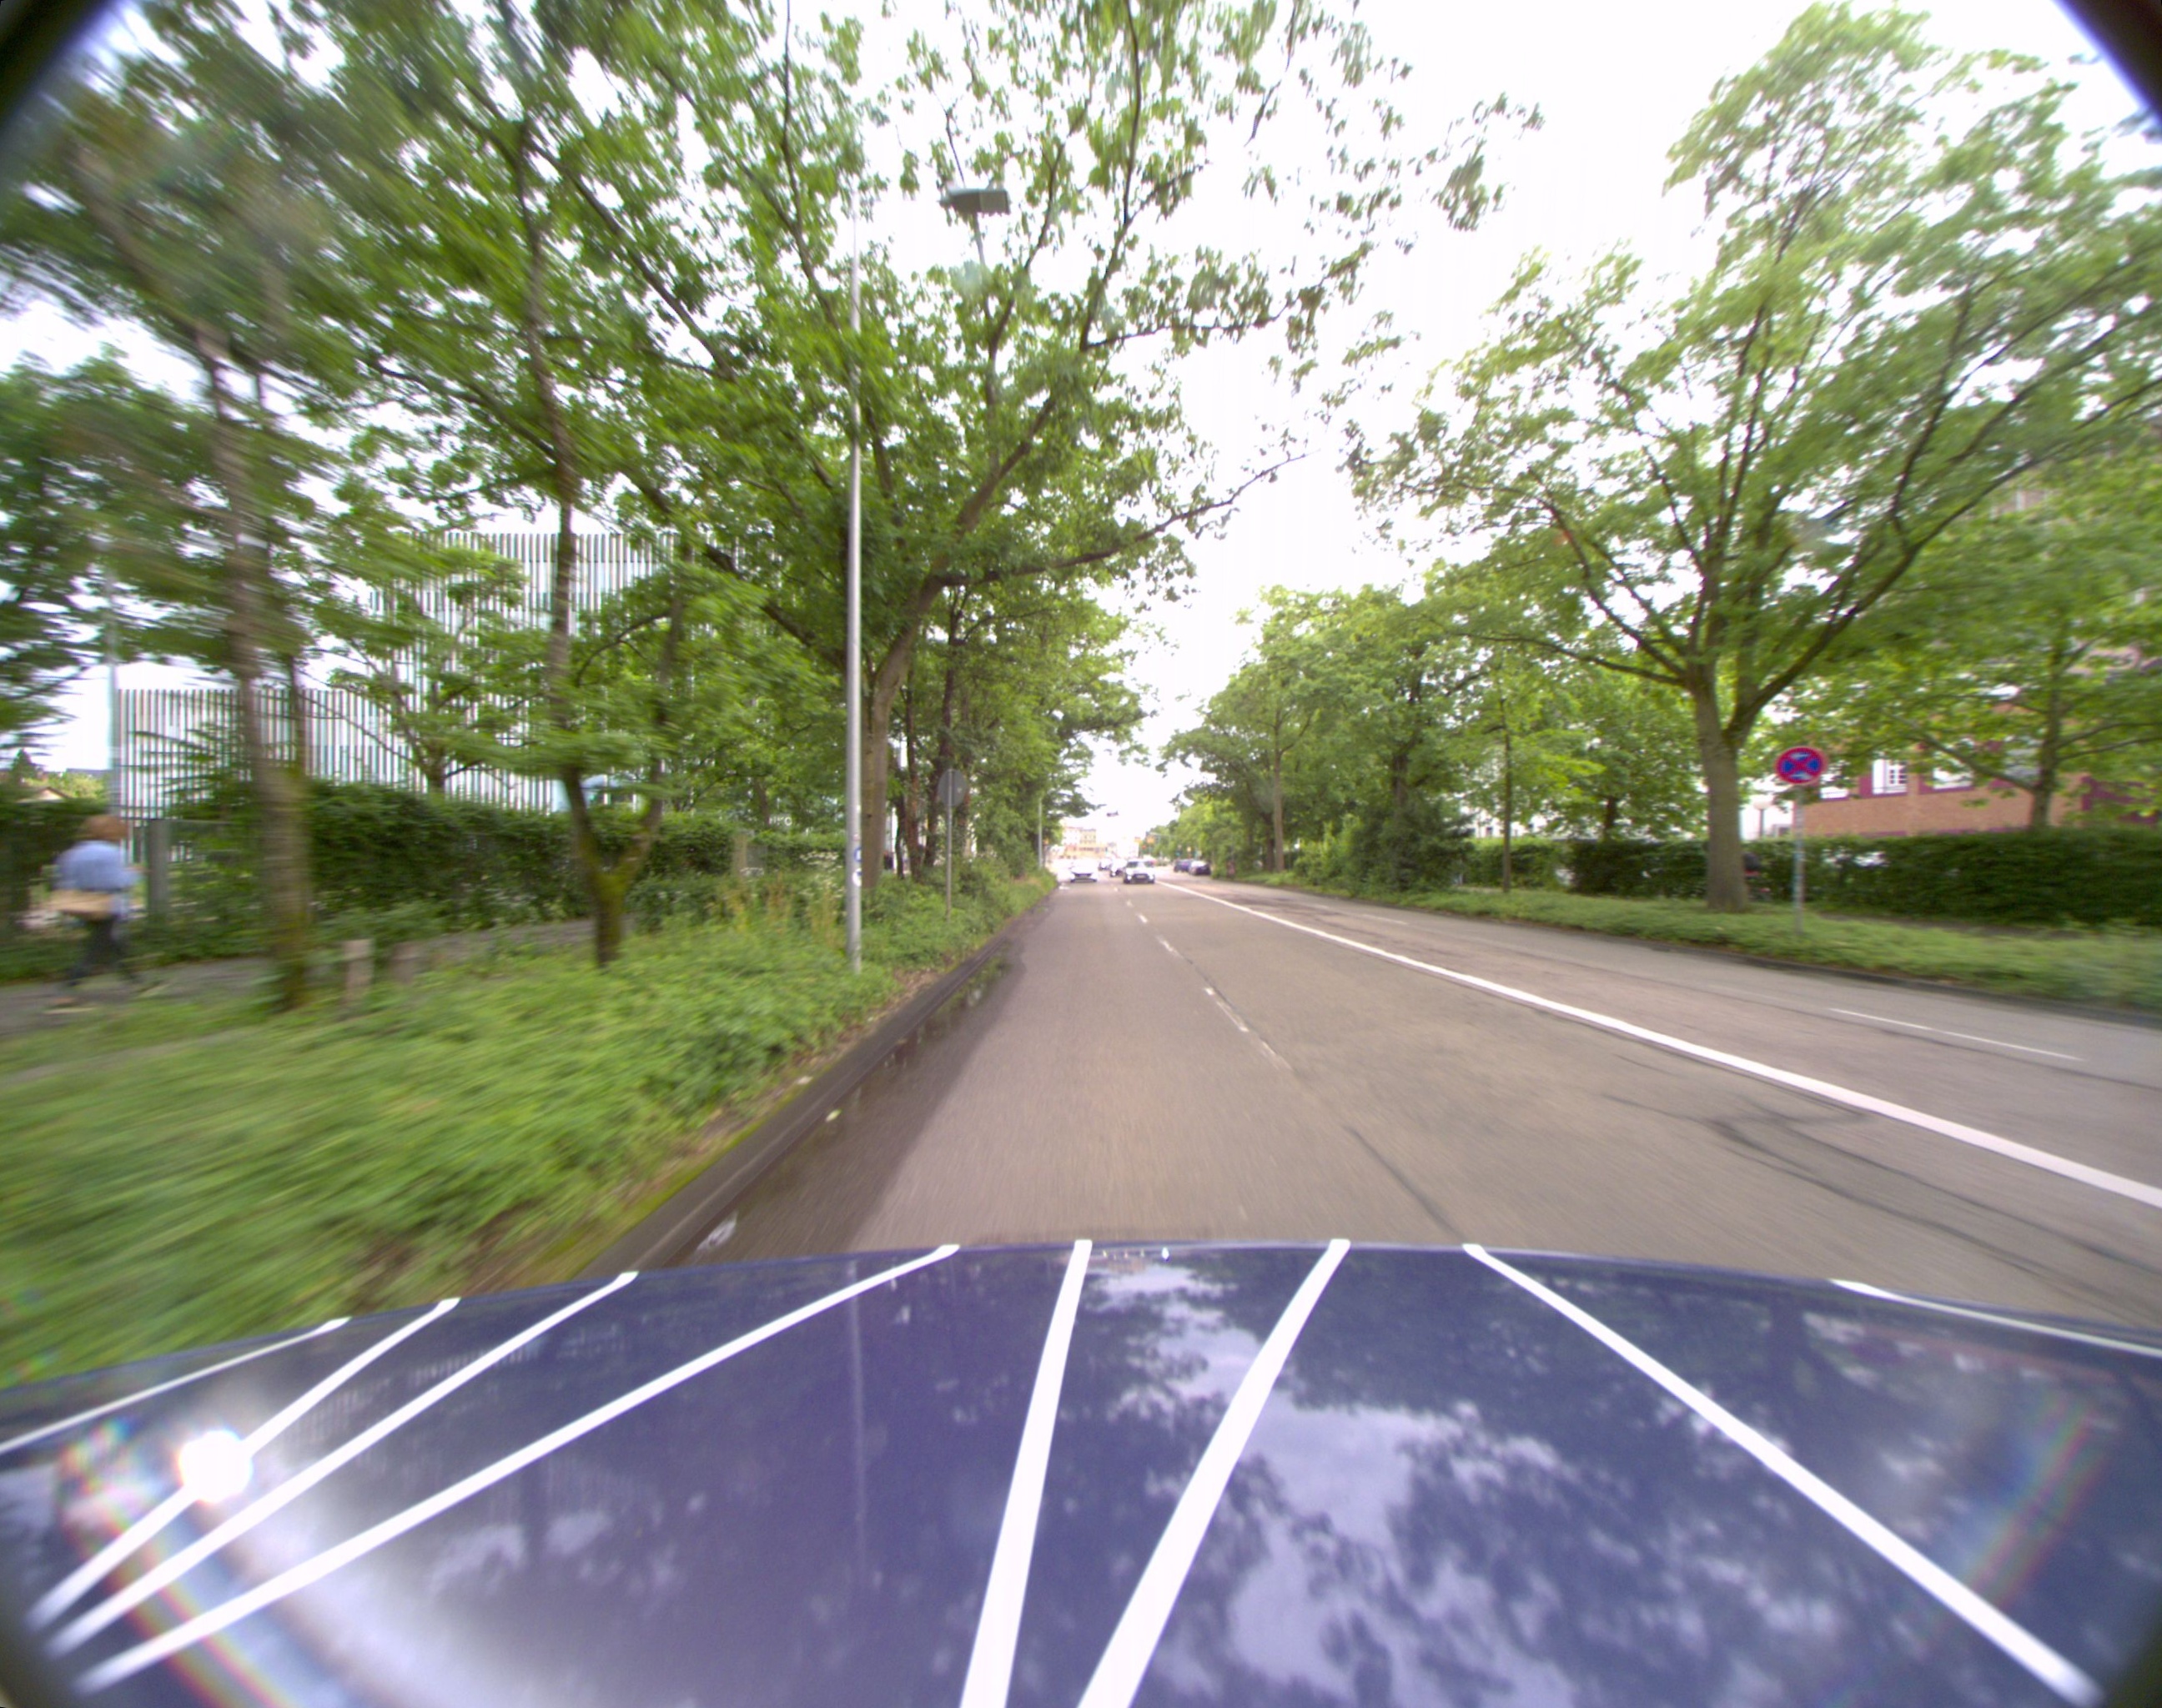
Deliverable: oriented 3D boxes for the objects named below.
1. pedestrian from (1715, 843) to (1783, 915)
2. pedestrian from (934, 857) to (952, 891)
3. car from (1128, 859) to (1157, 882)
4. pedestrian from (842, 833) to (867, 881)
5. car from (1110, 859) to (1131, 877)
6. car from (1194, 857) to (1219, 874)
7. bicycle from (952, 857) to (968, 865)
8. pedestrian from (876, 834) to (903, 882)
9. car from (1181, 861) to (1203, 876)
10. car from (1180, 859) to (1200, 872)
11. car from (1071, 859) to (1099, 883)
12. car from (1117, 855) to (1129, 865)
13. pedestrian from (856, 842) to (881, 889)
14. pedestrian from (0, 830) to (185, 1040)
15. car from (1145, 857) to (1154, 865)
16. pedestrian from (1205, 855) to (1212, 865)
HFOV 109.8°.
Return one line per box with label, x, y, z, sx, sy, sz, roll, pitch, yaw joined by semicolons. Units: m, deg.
pedestrian;15.227;0.561;17.349;0.794;1.604;0.848;-1;0;1
pedestrian;-8.122;1.175;44.798;0.928;2.002;1.039;1;0;-4
car;3.713;0.962;45.749;1.624;1.310;3.707;1;0;4
pedestrian;-9.692;0.128;32.574;0.826;2.002;0.720;1;0;0
car;3.429;1.208;65.846;1.731;1.450;4.002;1;0;4
car;12.903;1.188;78.431;1.998;1.679;4.000;-1;0;1
bicycle;-15.174;0.877;95.535;1.874;0.924;0.679;2;-2;-38
pedestrian;-8.265;0.177;32.775;0.928;2.002;1.039;1;0;-4
car;12.184;1.611;83.622;1.878;1.416;4.730;-5;-1;4
car;13.281;1.372;92.676;1.863;1.598;4.593;-1;0;2
car;0.305;1.116;51.781;1.813;1.532;4.000;1;0;1
car;7.376;1.050;134.052;1.907;1.584;4.516;1;0;1
pedestrian;-9.307;0.509;33.254;0.826;2.002;0.720;2;0;0
pedestrian;-8.380;0.642;6.421;0.574;1.642;0.820;3;0;1
car;16.785;1.768;185.875;1.775;1.837;4.491;-1;0;8
pedestrian;25.299;1.238;150.770;1.043;2.002;1.098;-1;0;-30
